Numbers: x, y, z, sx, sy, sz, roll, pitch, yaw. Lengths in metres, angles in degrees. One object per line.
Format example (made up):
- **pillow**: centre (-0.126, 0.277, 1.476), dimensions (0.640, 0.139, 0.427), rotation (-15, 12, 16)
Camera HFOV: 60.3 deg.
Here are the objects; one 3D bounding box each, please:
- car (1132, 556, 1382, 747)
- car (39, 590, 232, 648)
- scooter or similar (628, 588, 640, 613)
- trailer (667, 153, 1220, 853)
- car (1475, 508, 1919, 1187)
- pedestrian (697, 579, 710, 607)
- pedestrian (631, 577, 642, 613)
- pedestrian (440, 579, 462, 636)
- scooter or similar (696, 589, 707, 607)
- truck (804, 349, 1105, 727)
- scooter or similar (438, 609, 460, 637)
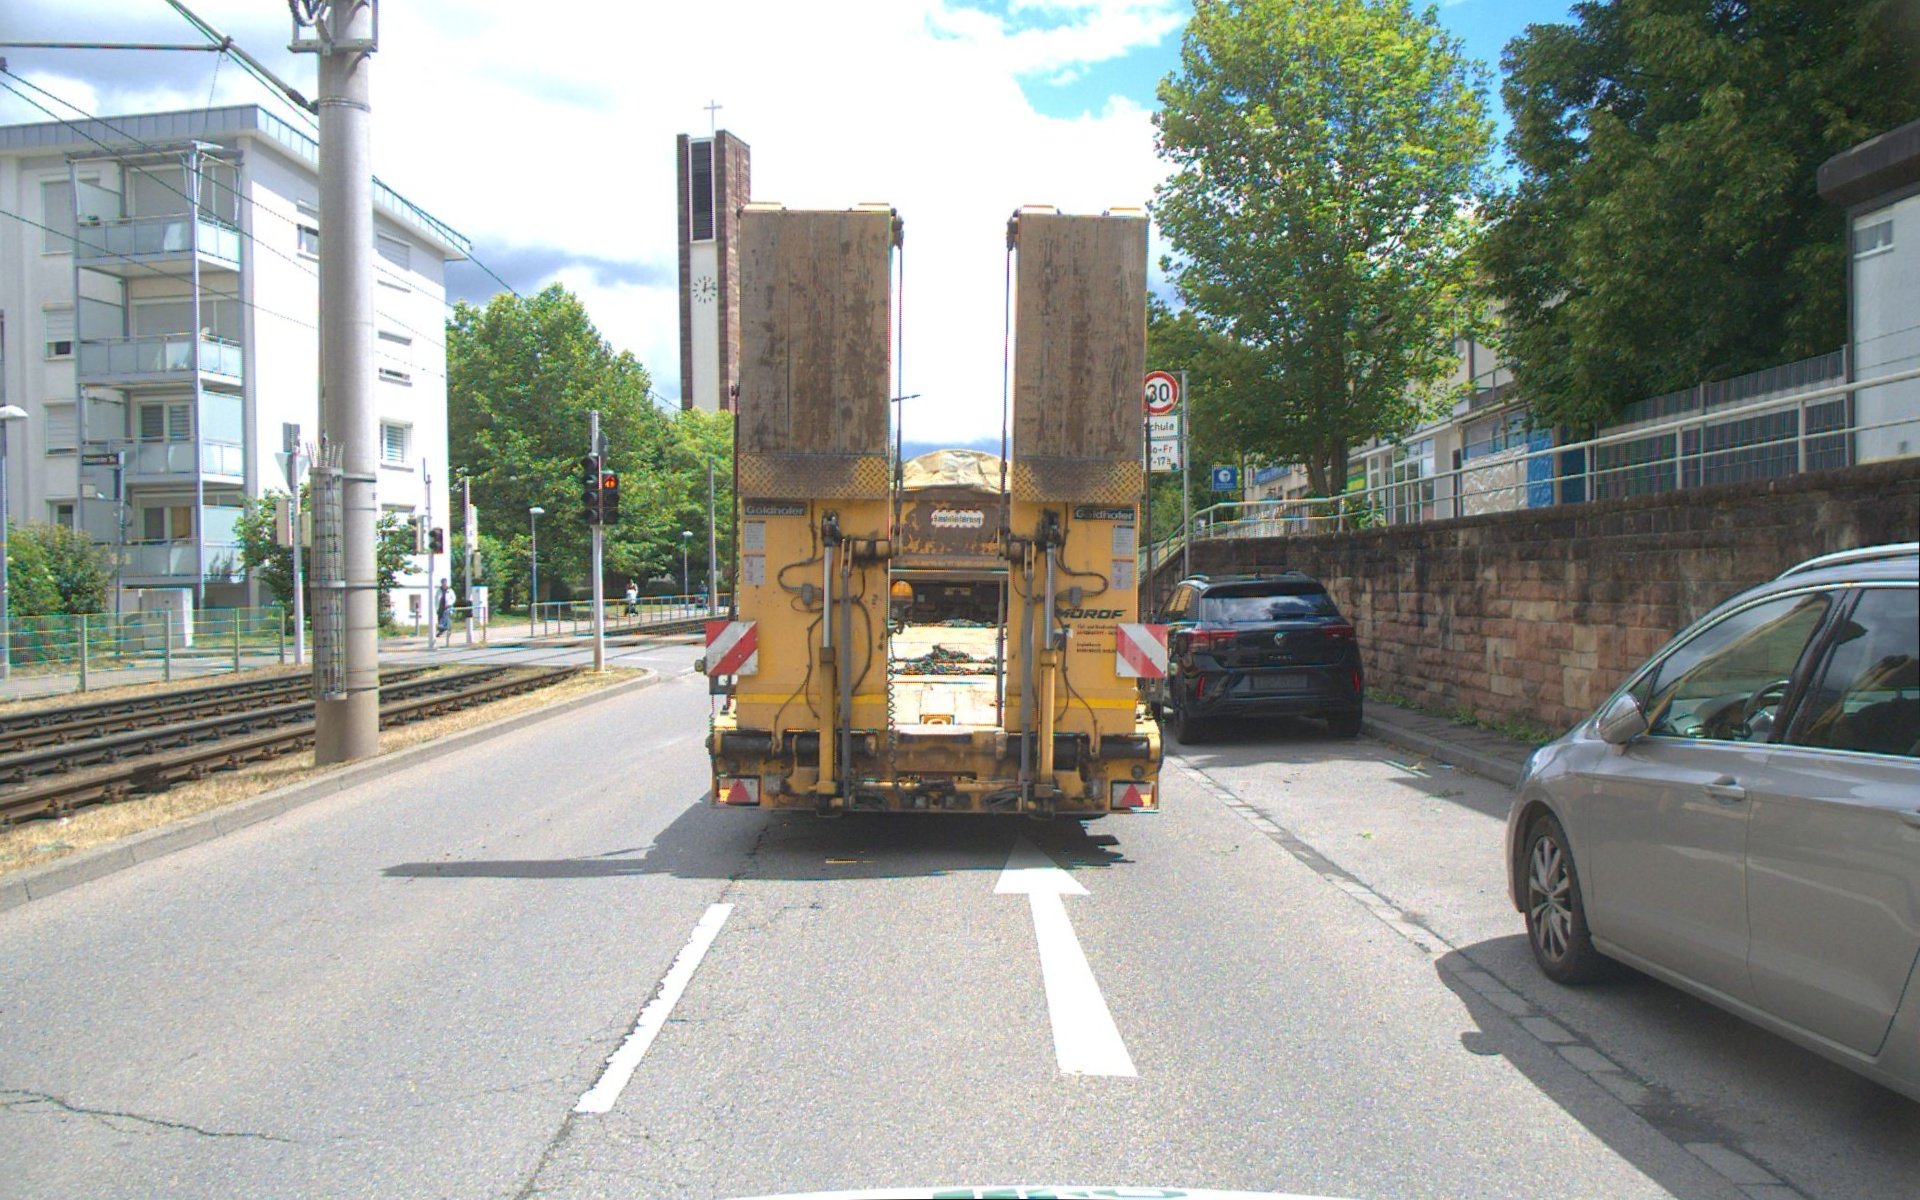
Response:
- **car**: centre (2.893, 0.445, 16.972), dimensions (1.813, 1.668, 4.000), rotation (-2, 0, 0)
- **car**: centre (-20.586, 0.473, 41.365), dimensions (3.902, 1.369, 1.903), rotation (-1, 0, 7)
- **scooter or similar**: centre (-14.324, 0.021, 72.675), dimensions (0.331, 1.076, 0.688), rotation (-1, 0, 2)
- **trailer**: centre (-0.068, -0.565, 13.070), dimensions (2.885, 3.664, 8.684), rotation (-1, 1, 0)
- **car**: centre (3.155, 0.565, 4.967), dimensions (1.754, 1.646, 4.247), rotation (-2, 1, -2)
- **pedestrian**: centre (-13.928, -0.386, 89.843), dimensions (0.552, 1.540, 0.645), rotation (1, 0, -2)
- **pedestrian**: centre (-14.323, -0.231, 73.328), dimensions (0.341, 1.564, 0.557), rotation (-1, 0, 3)
- **pedestrian**: centre (-14.355, 0.209, 46.625), dimensions (0.428, 1.608, 0.475), rotation (-1, 0, 4)
- **scooter or similar**: centre (-13.939, -0.119, 89.192), dimensions (0.495, 0.988, 0.645), rotation (1, 0, -2)
- **truck**: centre (-0.066, -0.629, 18.470), dimensions (2.882, 3.635, 4.876), rotation (-1, 1, 0)
- **scooter or similar**: centre (-14.260, 0.638, 46.138), dimensions (0.428, 0.760, 0.475), rotation (-1, 0, 4)
